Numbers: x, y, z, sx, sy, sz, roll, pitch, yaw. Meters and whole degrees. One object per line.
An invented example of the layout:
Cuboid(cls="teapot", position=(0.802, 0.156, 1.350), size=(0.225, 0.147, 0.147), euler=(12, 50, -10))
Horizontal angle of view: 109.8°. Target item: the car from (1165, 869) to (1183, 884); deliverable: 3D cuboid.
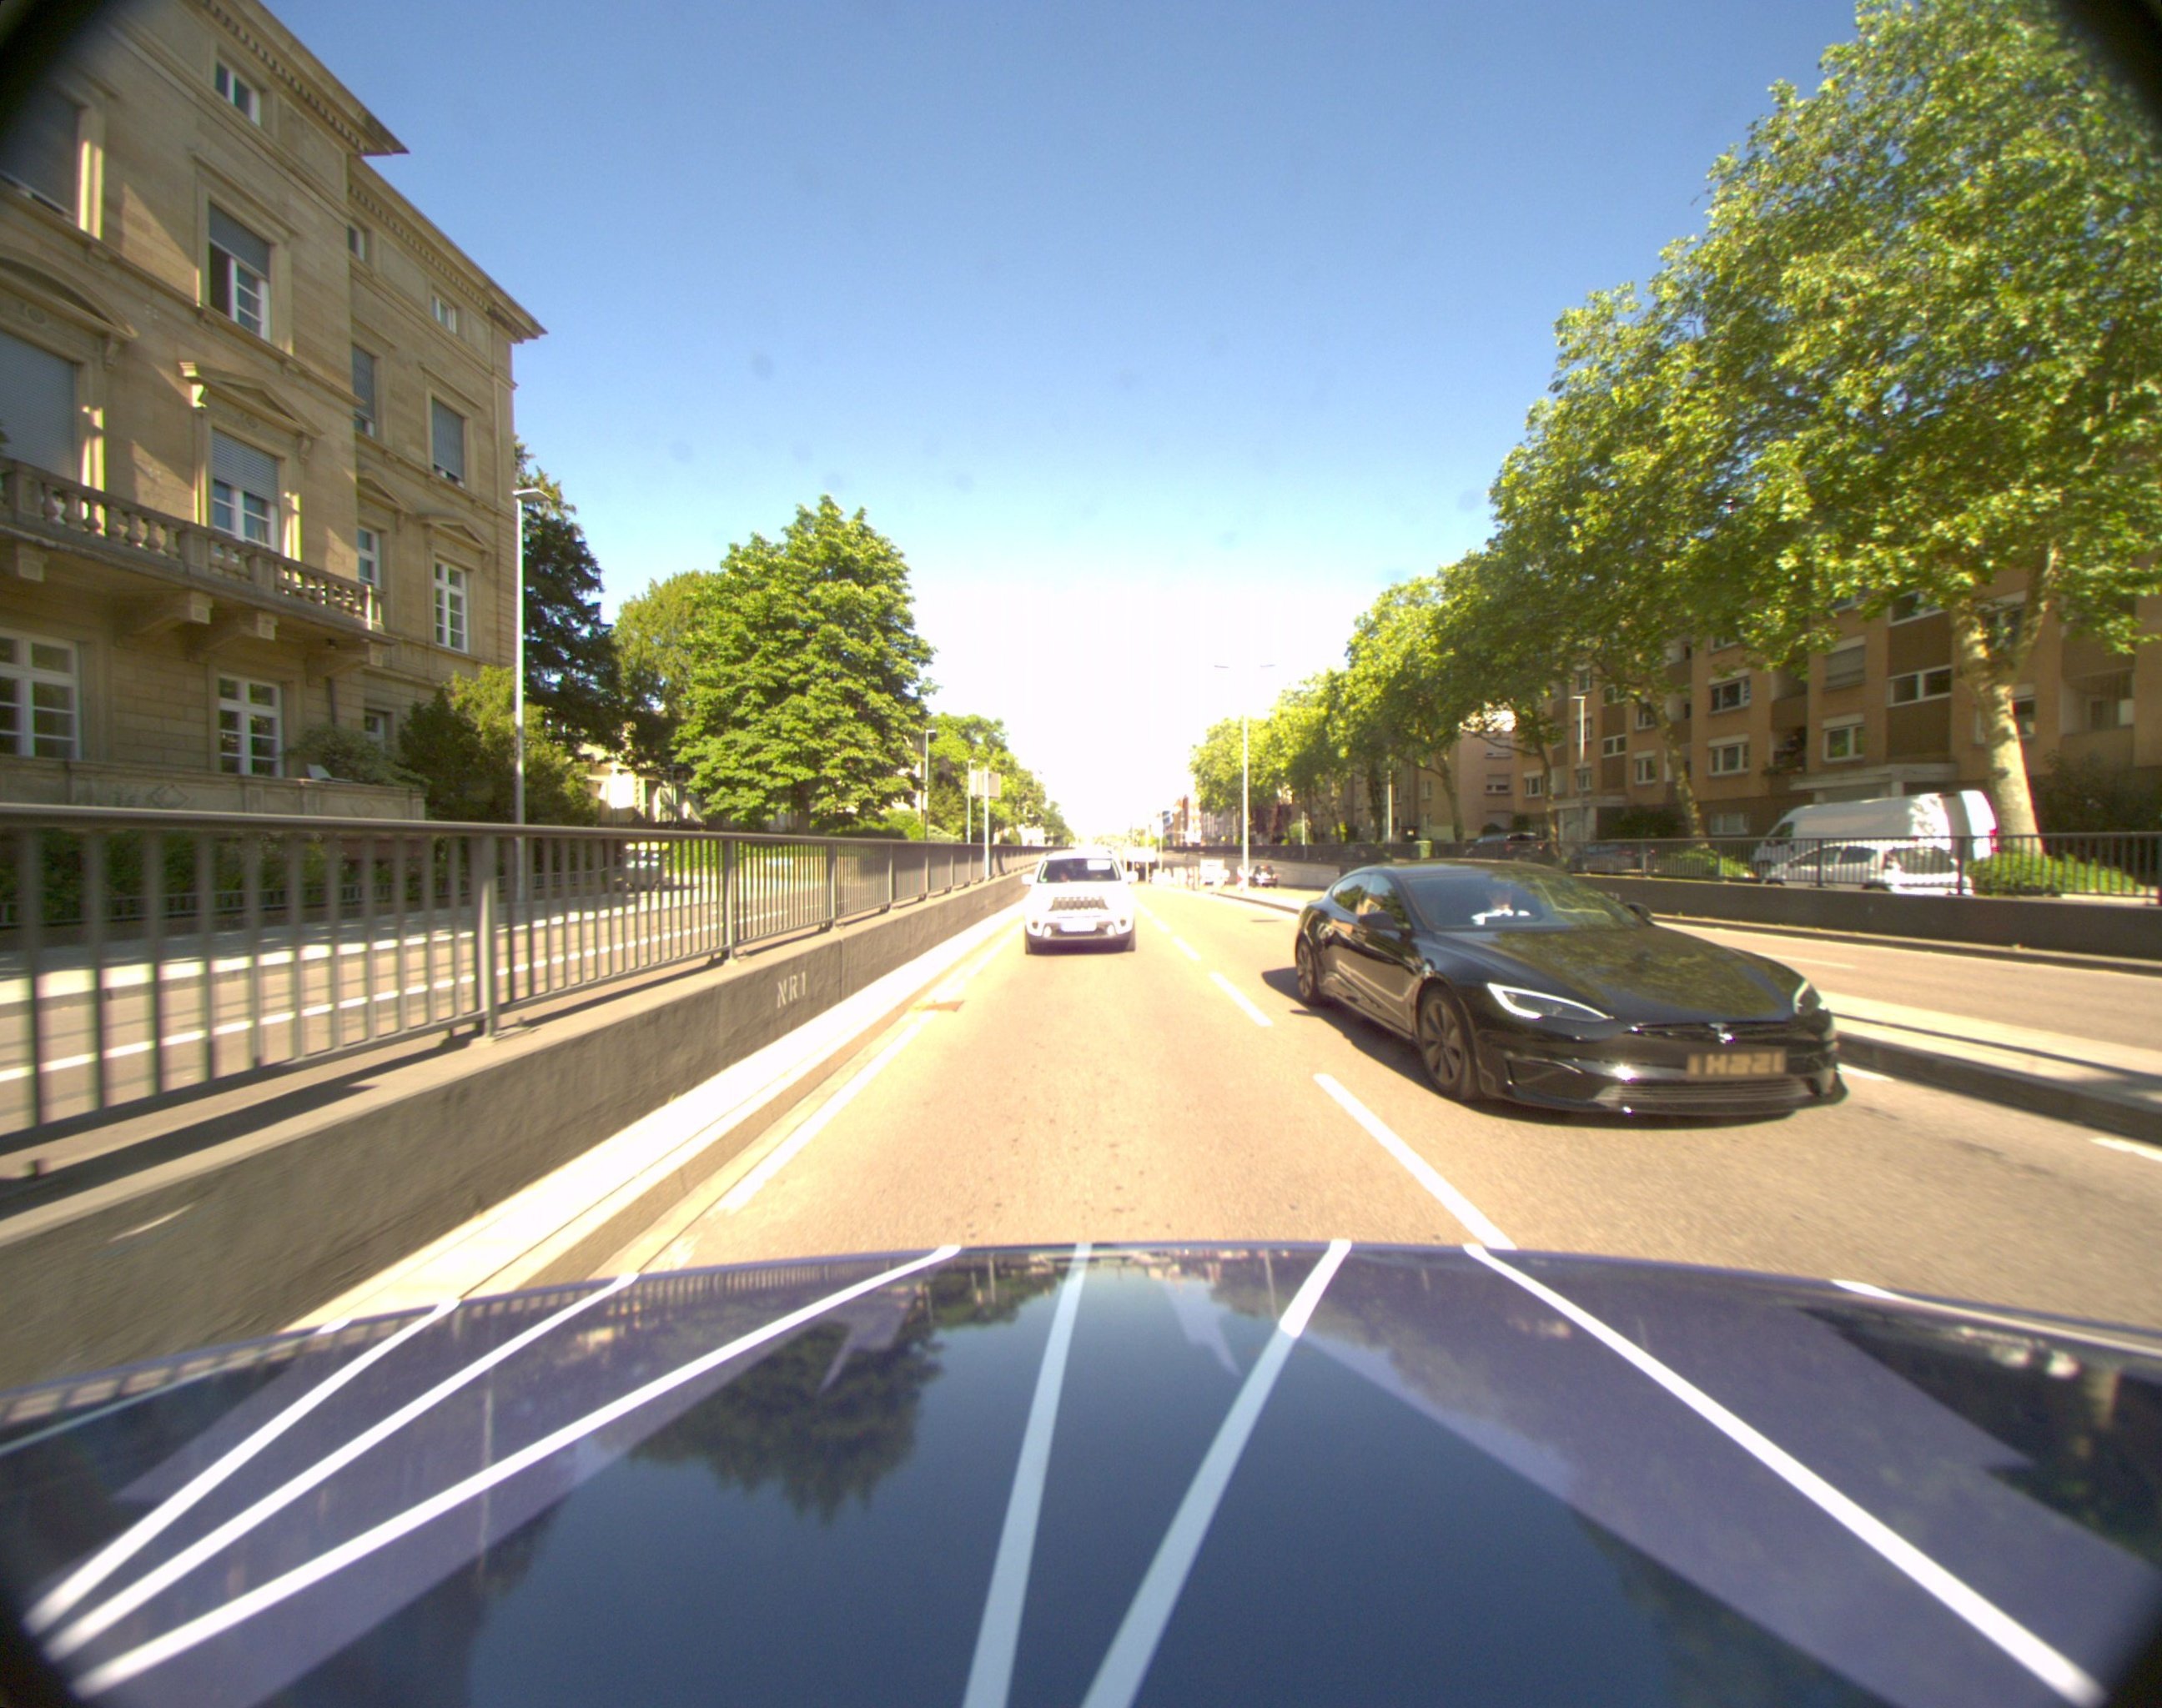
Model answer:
Cuboid(cls="car", position=(13.470, 3.236, 110.030), size=(1.999, 2.002, 3.999), euler=(-1, 0, -1))

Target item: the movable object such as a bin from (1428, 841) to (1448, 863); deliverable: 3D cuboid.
Cuboid(cls="movable object such as a bin", position=(26.850, -0.117, 57.163), size=(0.885, 1.632, 1.253), euler=(1, 0, 1))

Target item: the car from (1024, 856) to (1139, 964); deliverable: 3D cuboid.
Cuboid(cls="car", position=(0.024, 0.880, 13.565), size=(1.744, 1.647, 3.690), euler=(-1, 0, 1))

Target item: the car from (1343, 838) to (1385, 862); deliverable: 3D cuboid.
Cuboid(cls="car", position=(23.451, -0.306, 63.179), size=(1.998, 1.839, 4.000), euler=(1, 0, 1))

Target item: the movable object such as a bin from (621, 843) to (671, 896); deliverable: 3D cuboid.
Cuboid(cls="movable object such as a bin", position=(-11.892, 0.411, 20.825), size=(0.975, 1.390, 1.285), euler=(1, 0, -22))

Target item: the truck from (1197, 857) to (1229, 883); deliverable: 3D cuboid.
Cuboid(cls="truck", position=(12.622, 1.519, 72.993), size=(2.285, 2.380, 5.368), euler=(1, 0, 1))

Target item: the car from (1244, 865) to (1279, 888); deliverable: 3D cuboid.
Cuboid(cls="car", position=(12.304, 1.493, 51.983), size=(1.662, 1.465, 3.297), euler=(1, 0, 1))

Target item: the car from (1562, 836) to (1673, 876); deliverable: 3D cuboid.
Cuboid(cls="car", position=(22.959, 0.102, 32.725), size=(1.998, 1.570, 4.001), euler=(1, 0, 2))

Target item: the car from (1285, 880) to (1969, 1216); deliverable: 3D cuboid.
Cuboid(cls="car", position=(3.113, 0.968, 5.788), size=(1.930, 1.403, 4.626), euler=(-1, 0, 1))

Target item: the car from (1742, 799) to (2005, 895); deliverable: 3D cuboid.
Cuboid(cls="car", position=(22.704, -0.153, 22.212), size=(2.250, 2.431, 5.288), euler=(1, 0, 2))

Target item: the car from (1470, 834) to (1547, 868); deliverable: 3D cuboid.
Cuboid(cls="car", position=(23.029, -0.153, 41.110), size=(1.998, 1.742, 4.001), euler=(0, 0, 2))

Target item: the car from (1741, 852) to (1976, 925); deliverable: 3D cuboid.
Cuboid(cls="car", position=(17.557, 0.707, 17.432), size=(1.632, 1.478, 3.689), euler=(-1, 0, 1))
